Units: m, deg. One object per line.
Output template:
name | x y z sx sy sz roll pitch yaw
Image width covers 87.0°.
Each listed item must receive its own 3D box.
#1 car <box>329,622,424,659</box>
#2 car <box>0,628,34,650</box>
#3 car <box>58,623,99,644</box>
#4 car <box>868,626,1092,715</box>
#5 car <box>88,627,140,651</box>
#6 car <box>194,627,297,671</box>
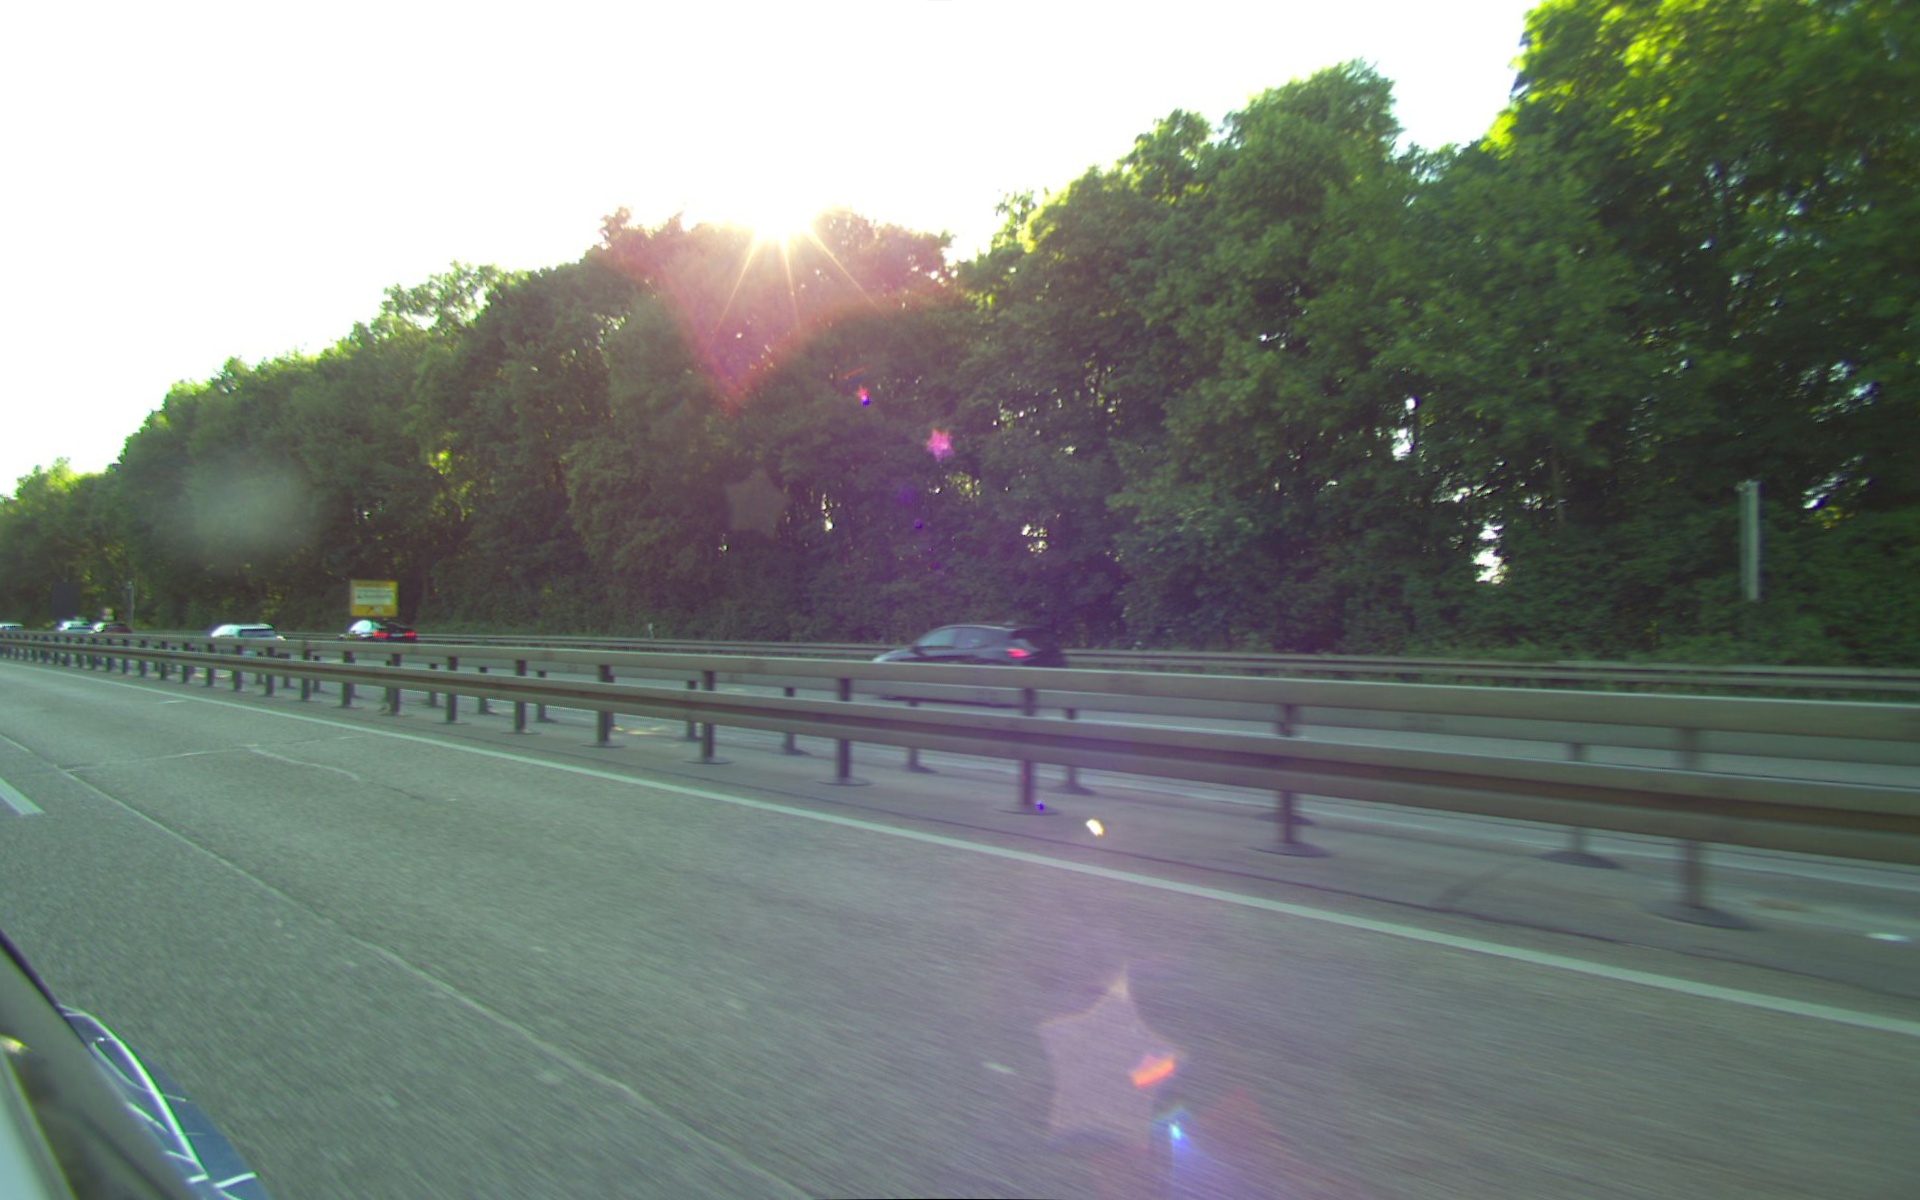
car | -24.870 1.721 43.079 4.900 1.475 1.973 -1 -3 41
car | -65.654 2.687 70.020 4.093 1.383 1.707 1 -2 40
car | -72.787 2.773 83.570 4.789 1.635 1.972 -1 -3 42
car | 0.282 1.204 18.464 3.998 1.434 1.589 -1 -1 41
car | -55.414 2.552 66.291 3.998 1.475 1.973 -1 -3 41
car | -26.043 1.749 36.819 4.738 1.475 1.973 -1 -3 41
